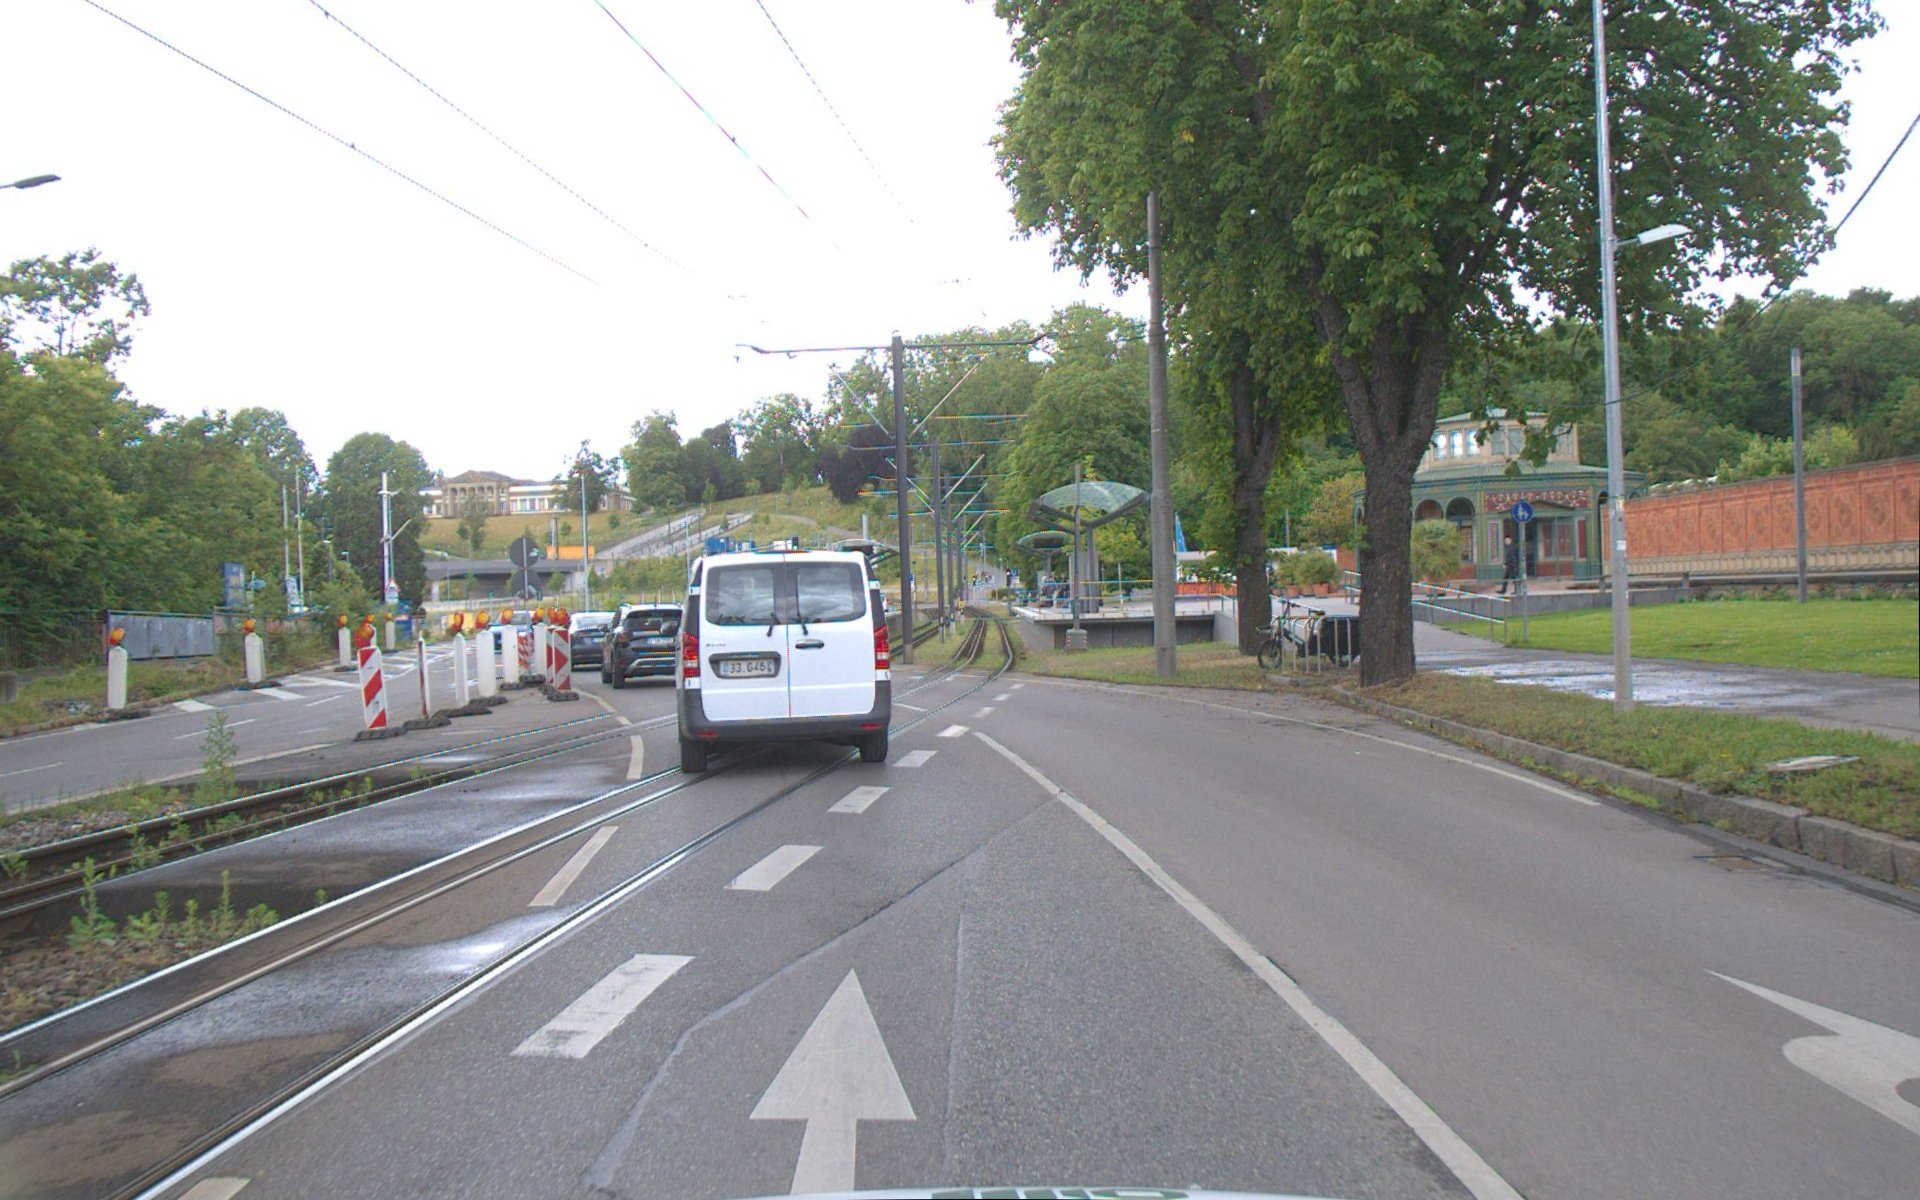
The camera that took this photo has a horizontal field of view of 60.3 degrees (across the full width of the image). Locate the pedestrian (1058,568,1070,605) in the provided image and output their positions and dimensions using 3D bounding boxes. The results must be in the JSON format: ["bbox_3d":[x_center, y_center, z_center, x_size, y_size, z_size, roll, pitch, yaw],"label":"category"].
[{"bbox_3d":[5.319,-0.669,84.799,0.619,1.870,0.950,0,0,2],"label":"pedestrian"}]

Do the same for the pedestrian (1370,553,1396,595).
[{"bbox_3d":[12.508,-0.759,48.890,0.537,1.222,0.668,0,0,-6],"label":"pedestrian"}]

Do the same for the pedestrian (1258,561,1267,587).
[{"bbox_3d":[17.774,-1.508,97.273,0.475,1.513,0.460,0,0,4],"label":"pedestrian"}]

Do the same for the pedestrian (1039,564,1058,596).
[{"bbox_3d":[4.752,-1.065,88.741,0.844,1.706,0.760,0,0,-9],"label":"pedestrian"}]

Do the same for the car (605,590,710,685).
[{"bbox_3d":[-5.955,0.700,32.889,1.803,1.759,4.056,-1,0,-7],"label":"car"}]

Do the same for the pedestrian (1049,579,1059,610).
[{"bbox_3d":[4.973,-0.281,87.535,0.513,1.648,0.676,0,0,2],"label":"pedestrian"}]

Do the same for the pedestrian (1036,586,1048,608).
[{"bbox_3d":[4.431,-0.153,89.213,0.643,1.212,0.676,0,0,2],"label":"pedestrian"}]

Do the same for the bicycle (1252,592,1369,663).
[{"bbox_3d":[6.290,0.488,29.757,1.949,1.178,0.741,-2,0,5],"label":"bicycle"}]

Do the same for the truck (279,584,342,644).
[{"bbox_3d":[-40.260,0.853,102.369,2.760,3.393,8.405,-4,1,-26],"label":"truck"}]

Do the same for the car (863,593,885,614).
[{"bbox_3d":[-9.026,0.347,173.563,2.157,2.049,5.146,-1,0,-5],"label":"car"}]

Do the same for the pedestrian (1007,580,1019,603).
[{"bbox_3d":[3.170,-0.523,98.804,0.660,1.347,0.968,0,0,0],"label":"pedestrian"}]

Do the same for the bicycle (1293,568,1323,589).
[{"bbox_3d":[18.456,-1.155,87.712,0.556,1.080,1.699,0,0,-29],"label":"bicycle"}]

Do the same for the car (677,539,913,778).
[{"bbox_3d":[-1.727,0.474,15.845,1.923,1.937,4.451,-1,0,-10],"label":"car"}]

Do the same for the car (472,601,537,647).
[{"bbox_3d":[-16.843,0.852,61.359,1.662,1.486,3.908,-3,1,-6],"label":"car"}]

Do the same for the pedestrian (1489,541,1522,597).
[{"bbox_3d":[18.521,-1.042,56.140,0.936,1.870,0.546,-1,-1,44],"label":"pedestrian"}]

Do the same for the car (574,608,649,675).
[{"bbox_3d":[-8.993,1.038,42.831,1.805,1.610,4.051,-1,0,-11],"label":"car"}]
